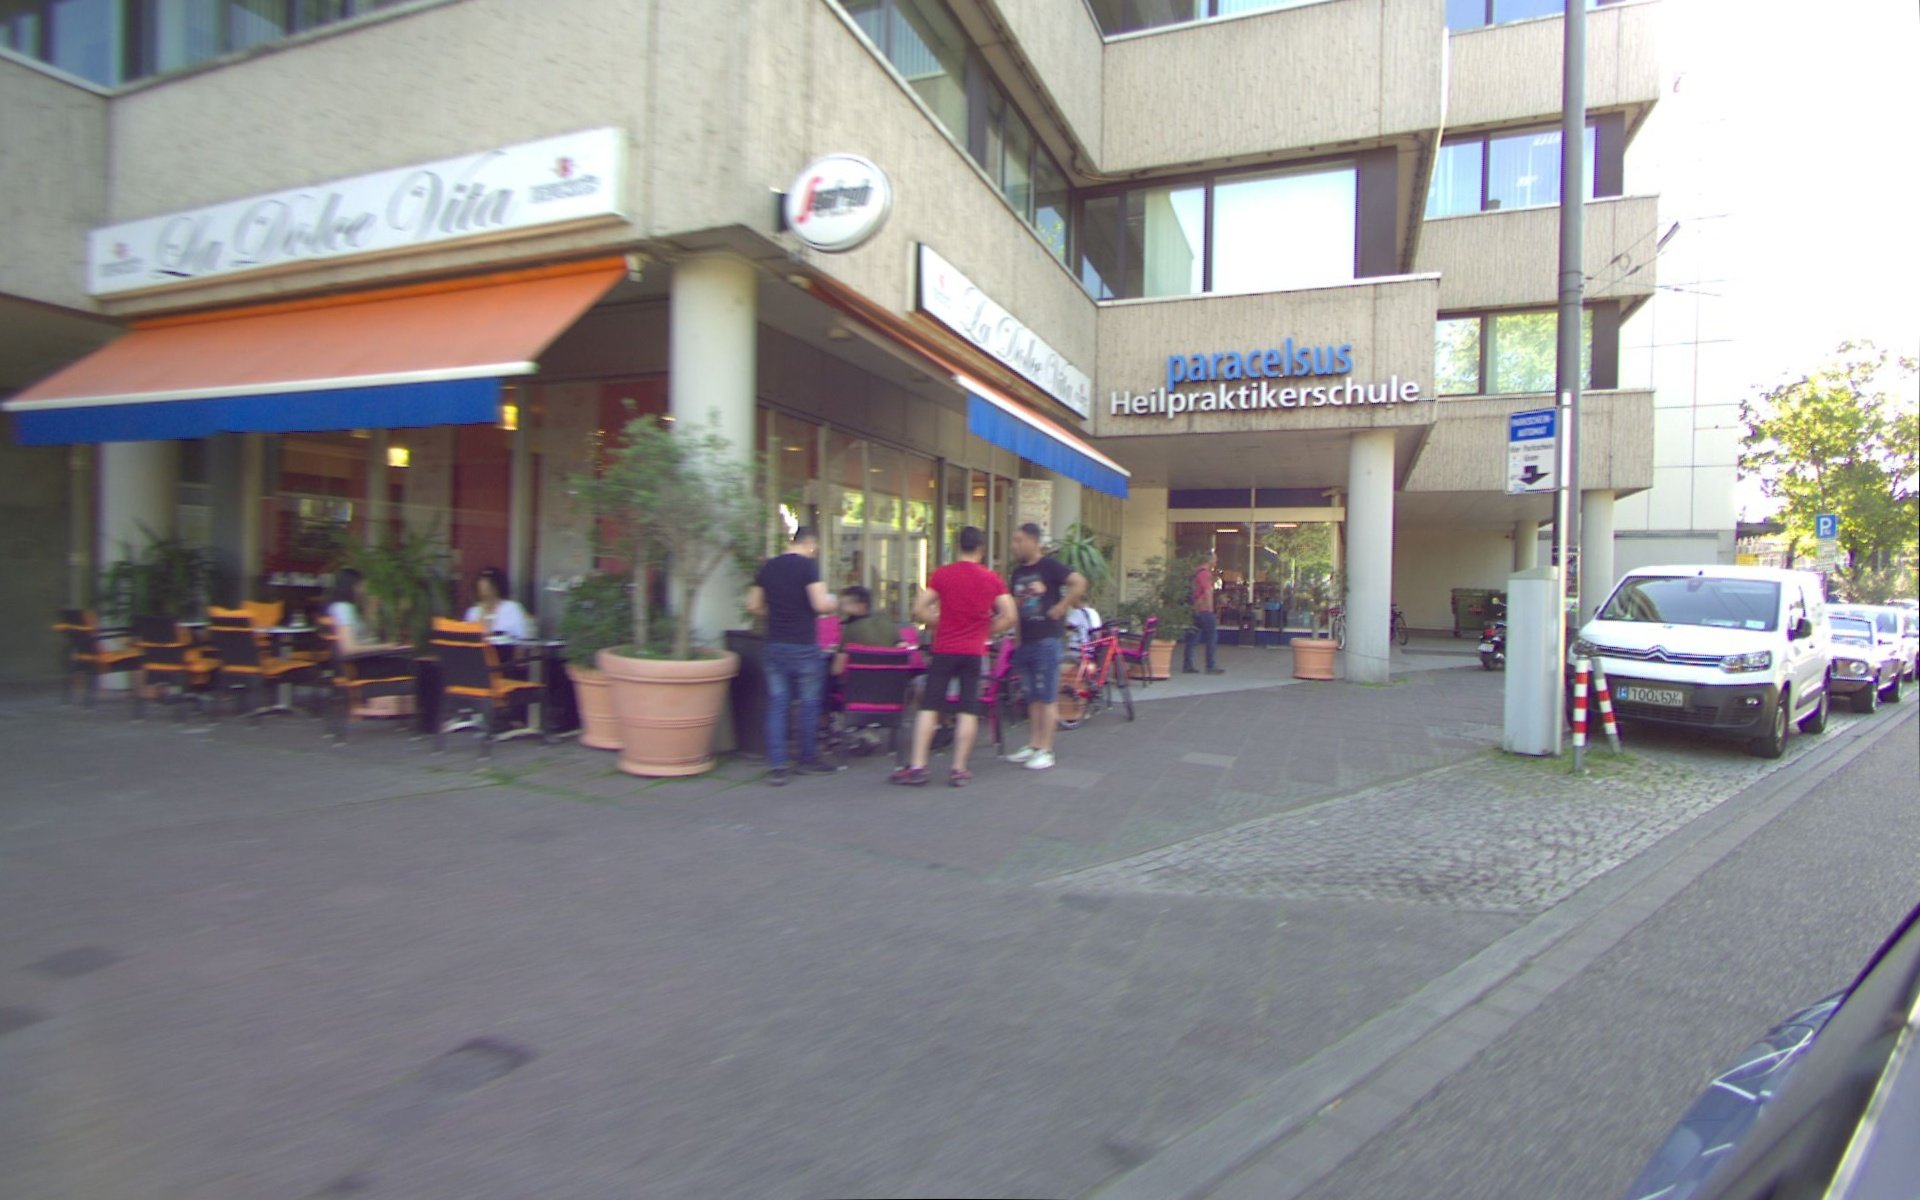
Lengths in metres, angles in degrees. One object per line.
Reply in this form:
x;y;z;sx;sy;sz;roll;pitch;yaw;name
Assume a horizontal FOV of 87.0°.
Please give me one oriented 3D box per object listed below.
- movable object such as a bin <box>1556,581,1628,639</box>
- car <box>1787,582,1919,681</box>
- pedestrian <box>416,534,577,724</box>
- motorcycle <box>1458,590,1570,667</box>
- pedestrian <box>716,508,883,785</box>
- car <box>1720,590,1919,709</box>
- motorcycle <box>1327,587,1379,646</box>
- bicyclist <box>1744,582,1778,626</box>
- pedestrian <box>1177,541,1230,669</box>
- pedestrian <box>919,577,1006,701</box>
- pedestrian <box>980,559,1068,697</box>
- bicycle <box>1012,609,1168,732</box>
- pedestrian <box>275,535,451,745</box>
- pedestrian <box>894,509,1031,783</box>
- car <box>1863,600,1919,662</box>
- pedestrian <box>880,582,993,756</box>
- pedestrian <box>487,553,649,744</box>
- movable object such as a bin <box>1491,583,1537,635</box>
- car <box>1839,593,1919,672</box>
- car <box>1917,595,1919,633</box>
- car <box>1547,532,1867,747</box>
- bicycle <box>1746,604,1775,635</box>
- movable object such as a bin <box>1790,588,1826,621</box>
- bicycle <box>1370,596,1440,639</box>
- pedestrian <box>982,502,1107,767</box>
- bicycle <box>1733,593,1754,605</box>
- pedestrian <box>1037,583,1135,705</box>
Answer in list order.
16.446;0.244;26.336;0.940;1.451;1.305;-1;0;-34;movable object such as a bin
17.733;0.540;19.817;3.802;1.710;1.853;-2;1;-43;car
-3.705;0.214;8.120;0.834;1.420;0.825;0;0;23;pedestrian
9.442;0.461;17.232;2.008;1.168;0.767;-1;4;-33;motorcycle
-1.069;0.274;6.831;0.833;1.731;0.715;3;2;20;pedestrian
13.235;0.626;15.312;4.648;1.472;1.777;-2;1;-40;car
8.354;0.335;21.459;0.510;1.183;2.074;-1;-1;36;motorcycle
25.517;0.117;32.225;0.758;1.343;0.979;-1;0;44;bicyclist
3.601;0.072;14.951;0.706;1.838;0.702;-1;0;15;pedestrian
0.036;0.401;10.786;0.753;1.263;0.677;-1;-1;18;pedestrian
0.765;0.318;12.086;0.662;1.576;0.830;-1;-1;45;pedestrian
1.283;0.632;9.782;1.616;1.047;0.563;-2;1;-42;bicycle
-4.314;0.274;7.349;0.833;1.420;0.748;-1;-1;18;pedestrian
0.017;0.283;6.857;0.685;1.736;0.585;-1;0;-39;pedestrian
24.398;0.734;25.466;4.519;1.361;1.855;-2;1;-40;car
-0.187;0.500;7.888;0.613;1.251;0.631;-1;3;-39;pedestrian
-2.934;0.316;7.586;0.839;1.308;0.820;3;3;36;pedestrian
15.269;0.234;27.902;0.836;1.401;0.795;-1;0;-34;movable object such as a bin
20.869;0.658;22.267;4.125;1.537;1.674;-2;1;-40;car
38.919;0.551;39.751;4.508;1.456;1.767;0;2;-45;car
8.104;0.291;10.828;4.237;1.835;1.996;-2;1;-43;car
25.482;0.617;32.197;0.534;0.903;2.037;-1;1;44;bicycle
45.822;0.210;54.694;1.246;1.730;0.938;1;2;23;movable object such as a bin
10.776;0.411;24.573;0.668;0.993;1.860;0;0;-8;bicycle
0.629;0.223;7.593;0.599;1.878;0.672;-1;4;-39;pedestrian
73.697;-0.105;95.209;1.419;1.023;0.407;2;2;26;bicycle
1.326;0.440;10.619;0.662;1.213;0.831;-1;-1;42;pedestrian
